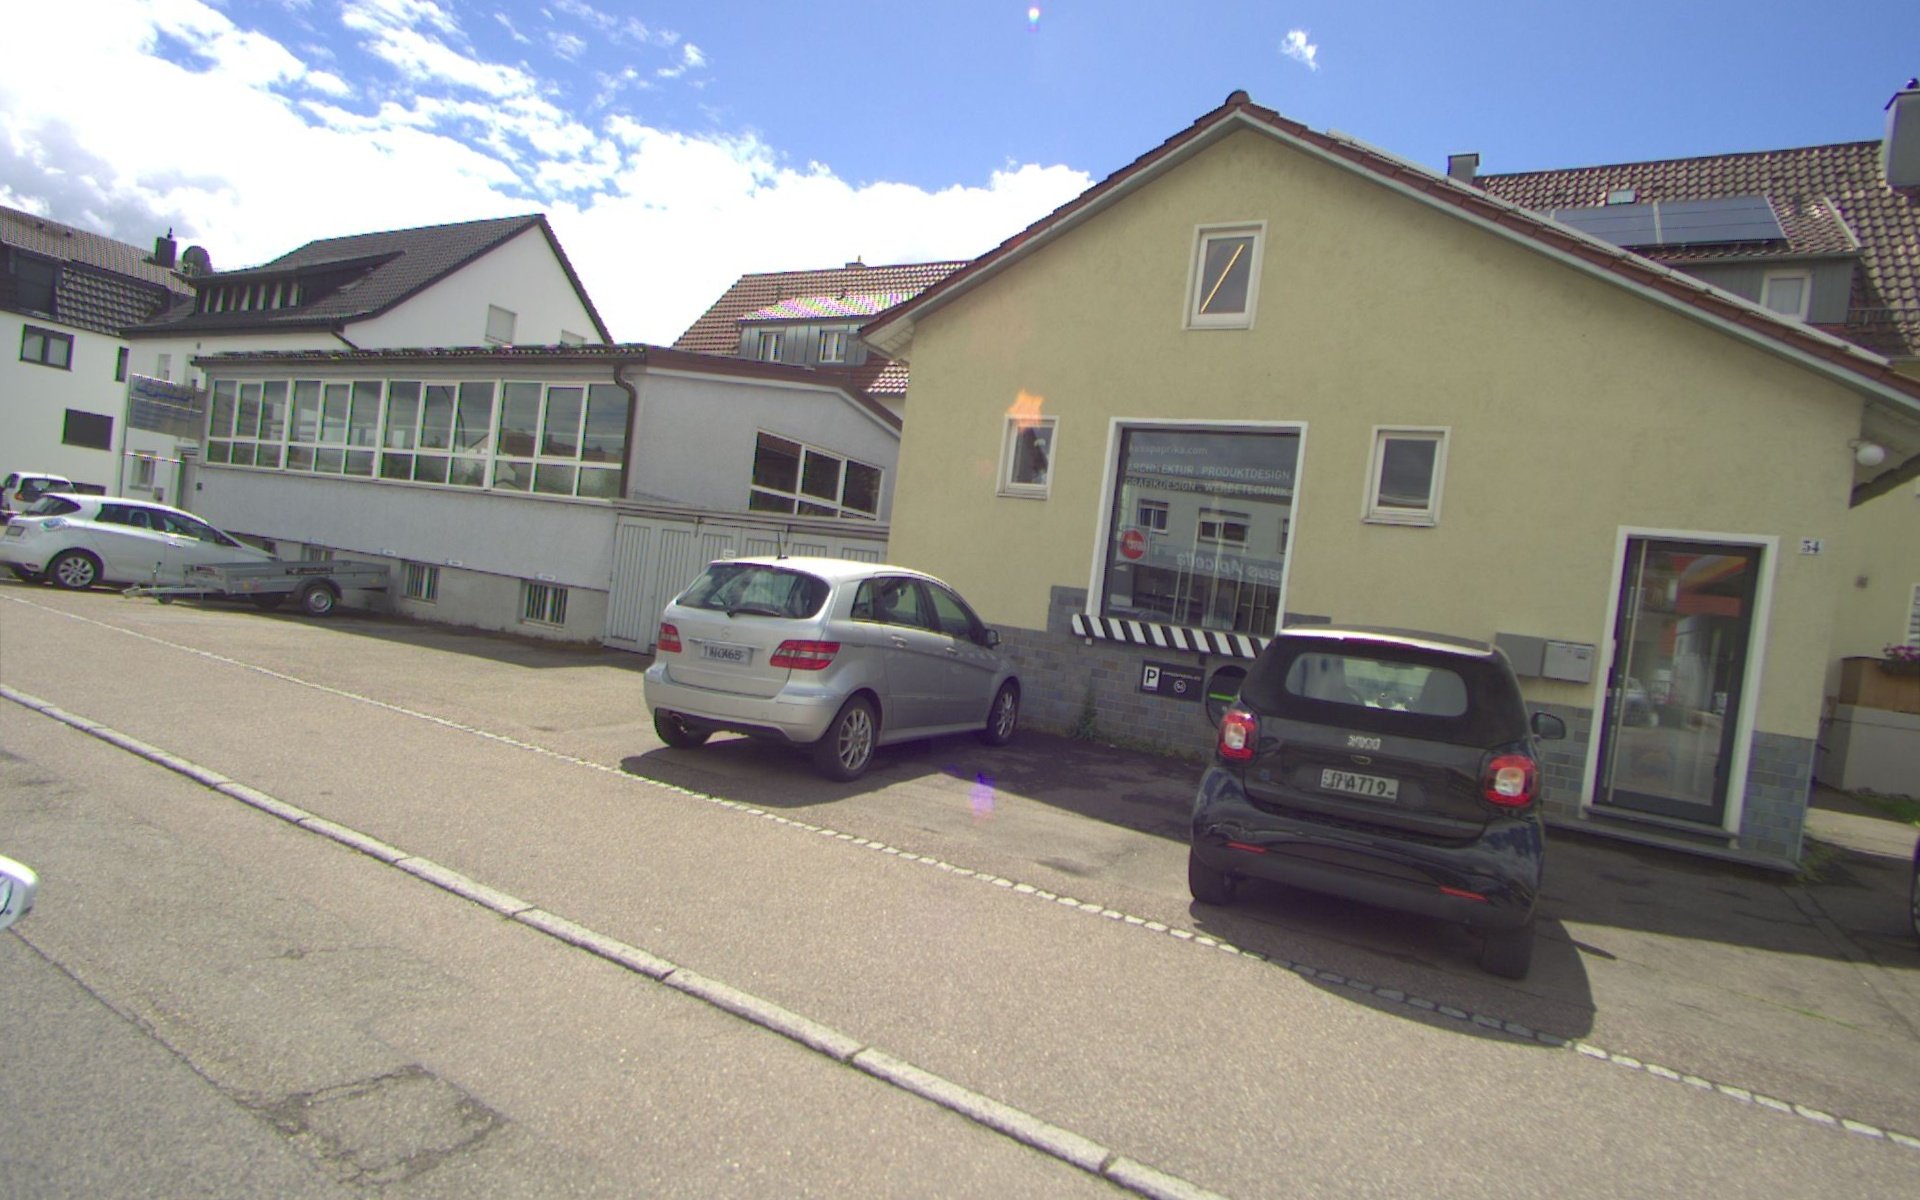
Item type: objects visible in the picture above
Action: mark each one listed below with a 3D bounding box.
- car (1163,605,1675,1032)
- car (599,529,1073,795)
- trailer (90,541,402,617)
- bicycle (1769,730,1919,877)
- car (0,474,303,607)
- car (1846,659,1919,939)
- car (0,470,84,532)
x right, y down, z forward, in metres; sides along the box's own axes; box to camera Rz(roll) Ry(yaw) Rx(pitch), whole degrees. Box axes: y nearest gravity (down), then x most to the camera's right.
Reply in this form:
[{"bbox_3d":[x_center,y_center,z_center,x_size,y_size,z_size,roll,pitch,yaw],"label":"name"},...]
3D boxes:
[{"bbox_3d":[2.607,0.912,5.791,1.940,1.546,2.890,7,3,28],"label":"car"},{"bbox_3d":[-0.772,0.411,9.030,1.940,1.630,4.410,7,3,28],"label":"car"},{"bbox_3d":[-11.509,-0.299,16.483,1.628,0.818,3.821,7,0,29],"label":"trailer"},{"bbox_3d":[8.543,1.869,9.580,0.694,1.026,2.575,7,0,27],"label":"bicycle"},{"bbox_3d":[-13.951,-0.946,17.363,1.719,1.627,3.909,7,-2,29],"label":"car"},{"bbox_3d":[5.934,1.234,4.406,1.940,1.546,4.410,7,3,28],"label":"car"},{"bbox_3d":[-27.779,-3.010,30.169,3.609,1.540,1.628,9,4,39],"label":"car"}]
